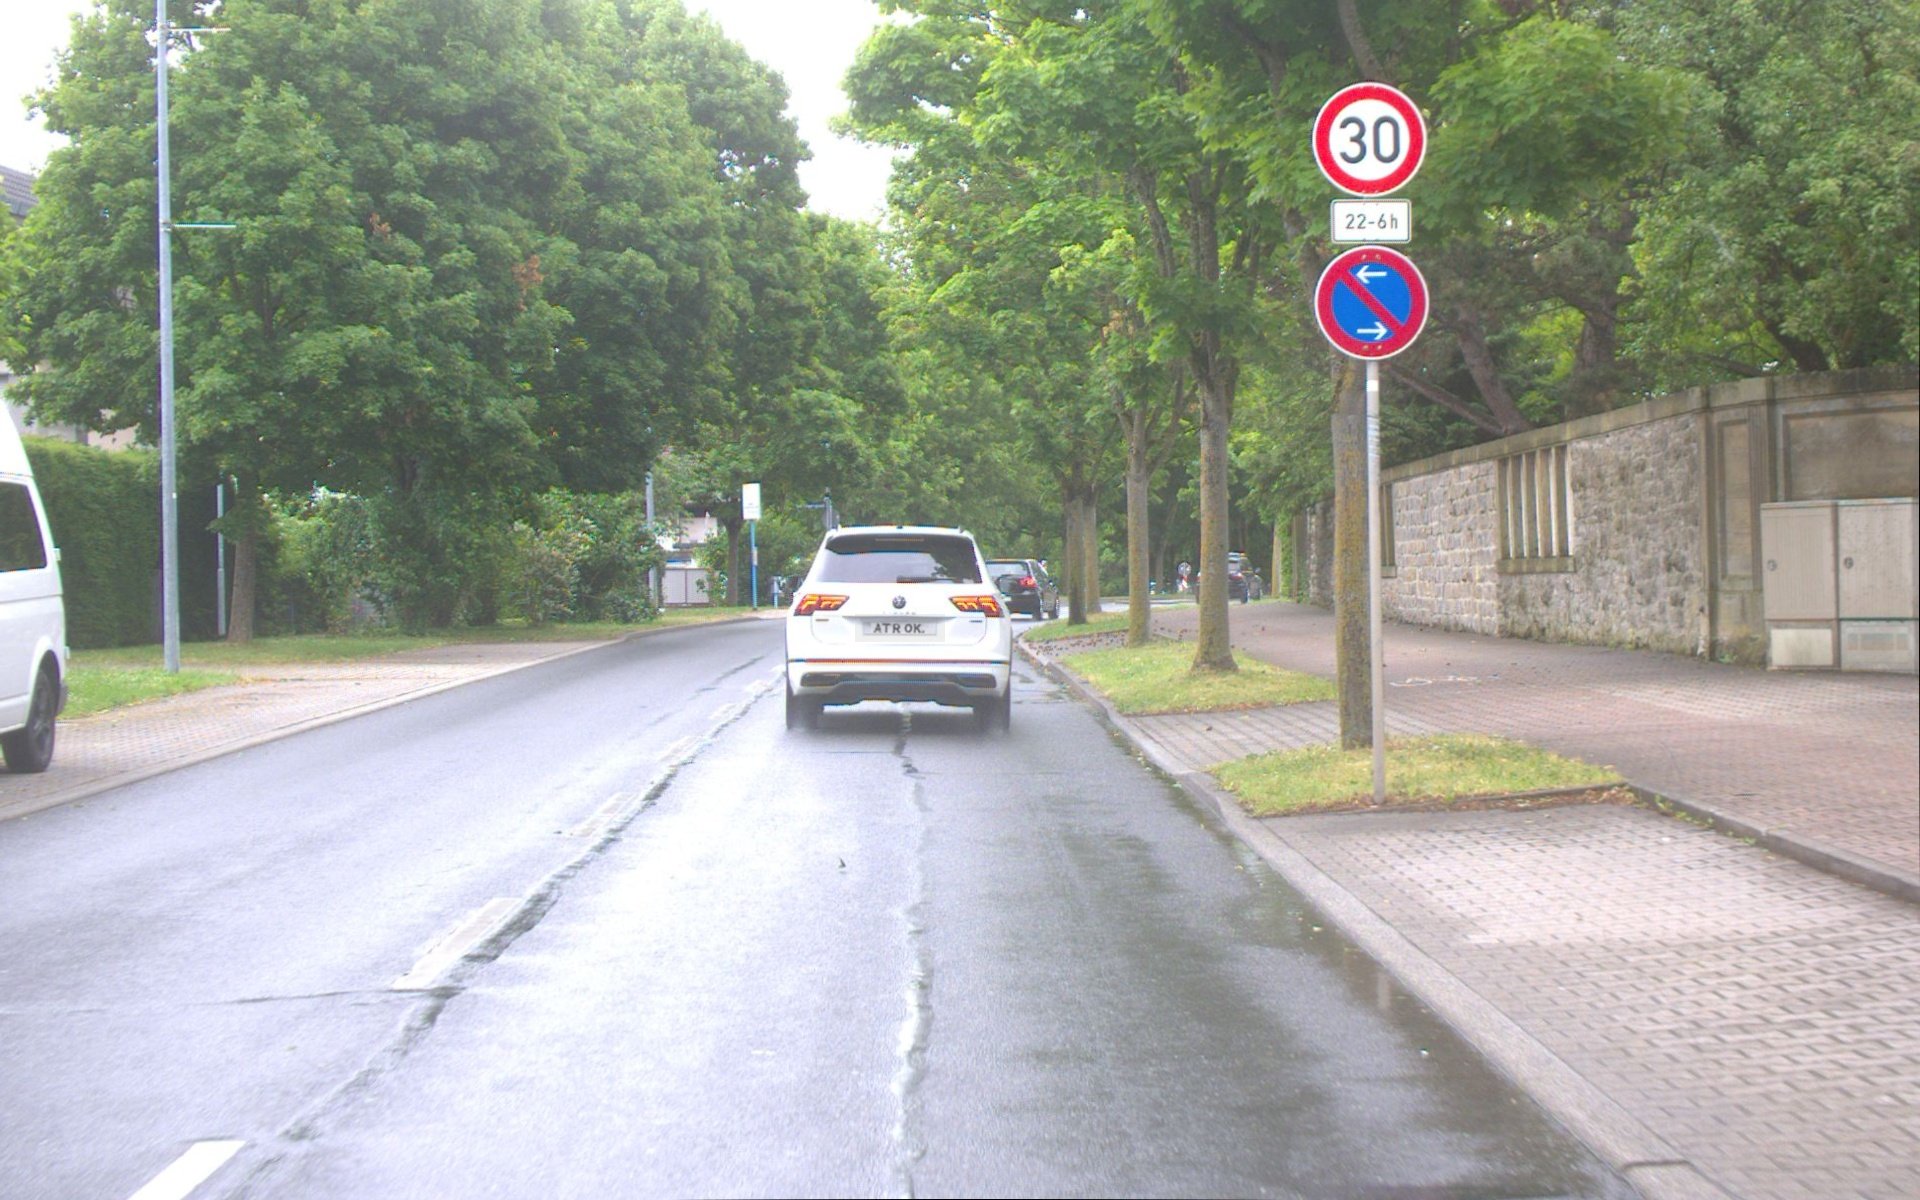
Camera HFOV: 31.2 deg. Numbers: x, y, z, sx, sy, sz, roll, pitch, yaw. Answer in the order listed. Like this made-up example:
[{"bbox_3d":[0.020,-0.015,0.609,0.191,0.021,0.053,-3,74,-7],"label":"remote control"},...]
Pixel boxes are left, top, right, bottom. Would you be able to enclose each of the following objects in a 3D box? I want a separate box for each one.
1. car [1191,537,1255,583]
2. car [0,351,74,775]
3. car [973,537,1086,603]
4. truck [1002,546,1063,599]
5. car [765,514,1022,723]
[{"bbox_3d":[9.002,-1.349,117.271,1.841,1.482,3.999,-3,0,8],"label":"car"},{"bbox_3d":[-6.751,-0.191,19.849,1.993,2.552,5.233,-1,1,-1],"label":"car"},{"bbox_3d":[1.695,-0.730,82.547,1.842,1.482,3.997,2,1,14],"label":"car"},{"bbox_3d":[3.654,-1.365,172.300,2.285,2.588,5.872,-1,0,8],"label":"truck"},{"bbox_3d":[-0.561,0.097,28.860,1.996,1.626,4.000,0,1,-1],"label":"car"}]
